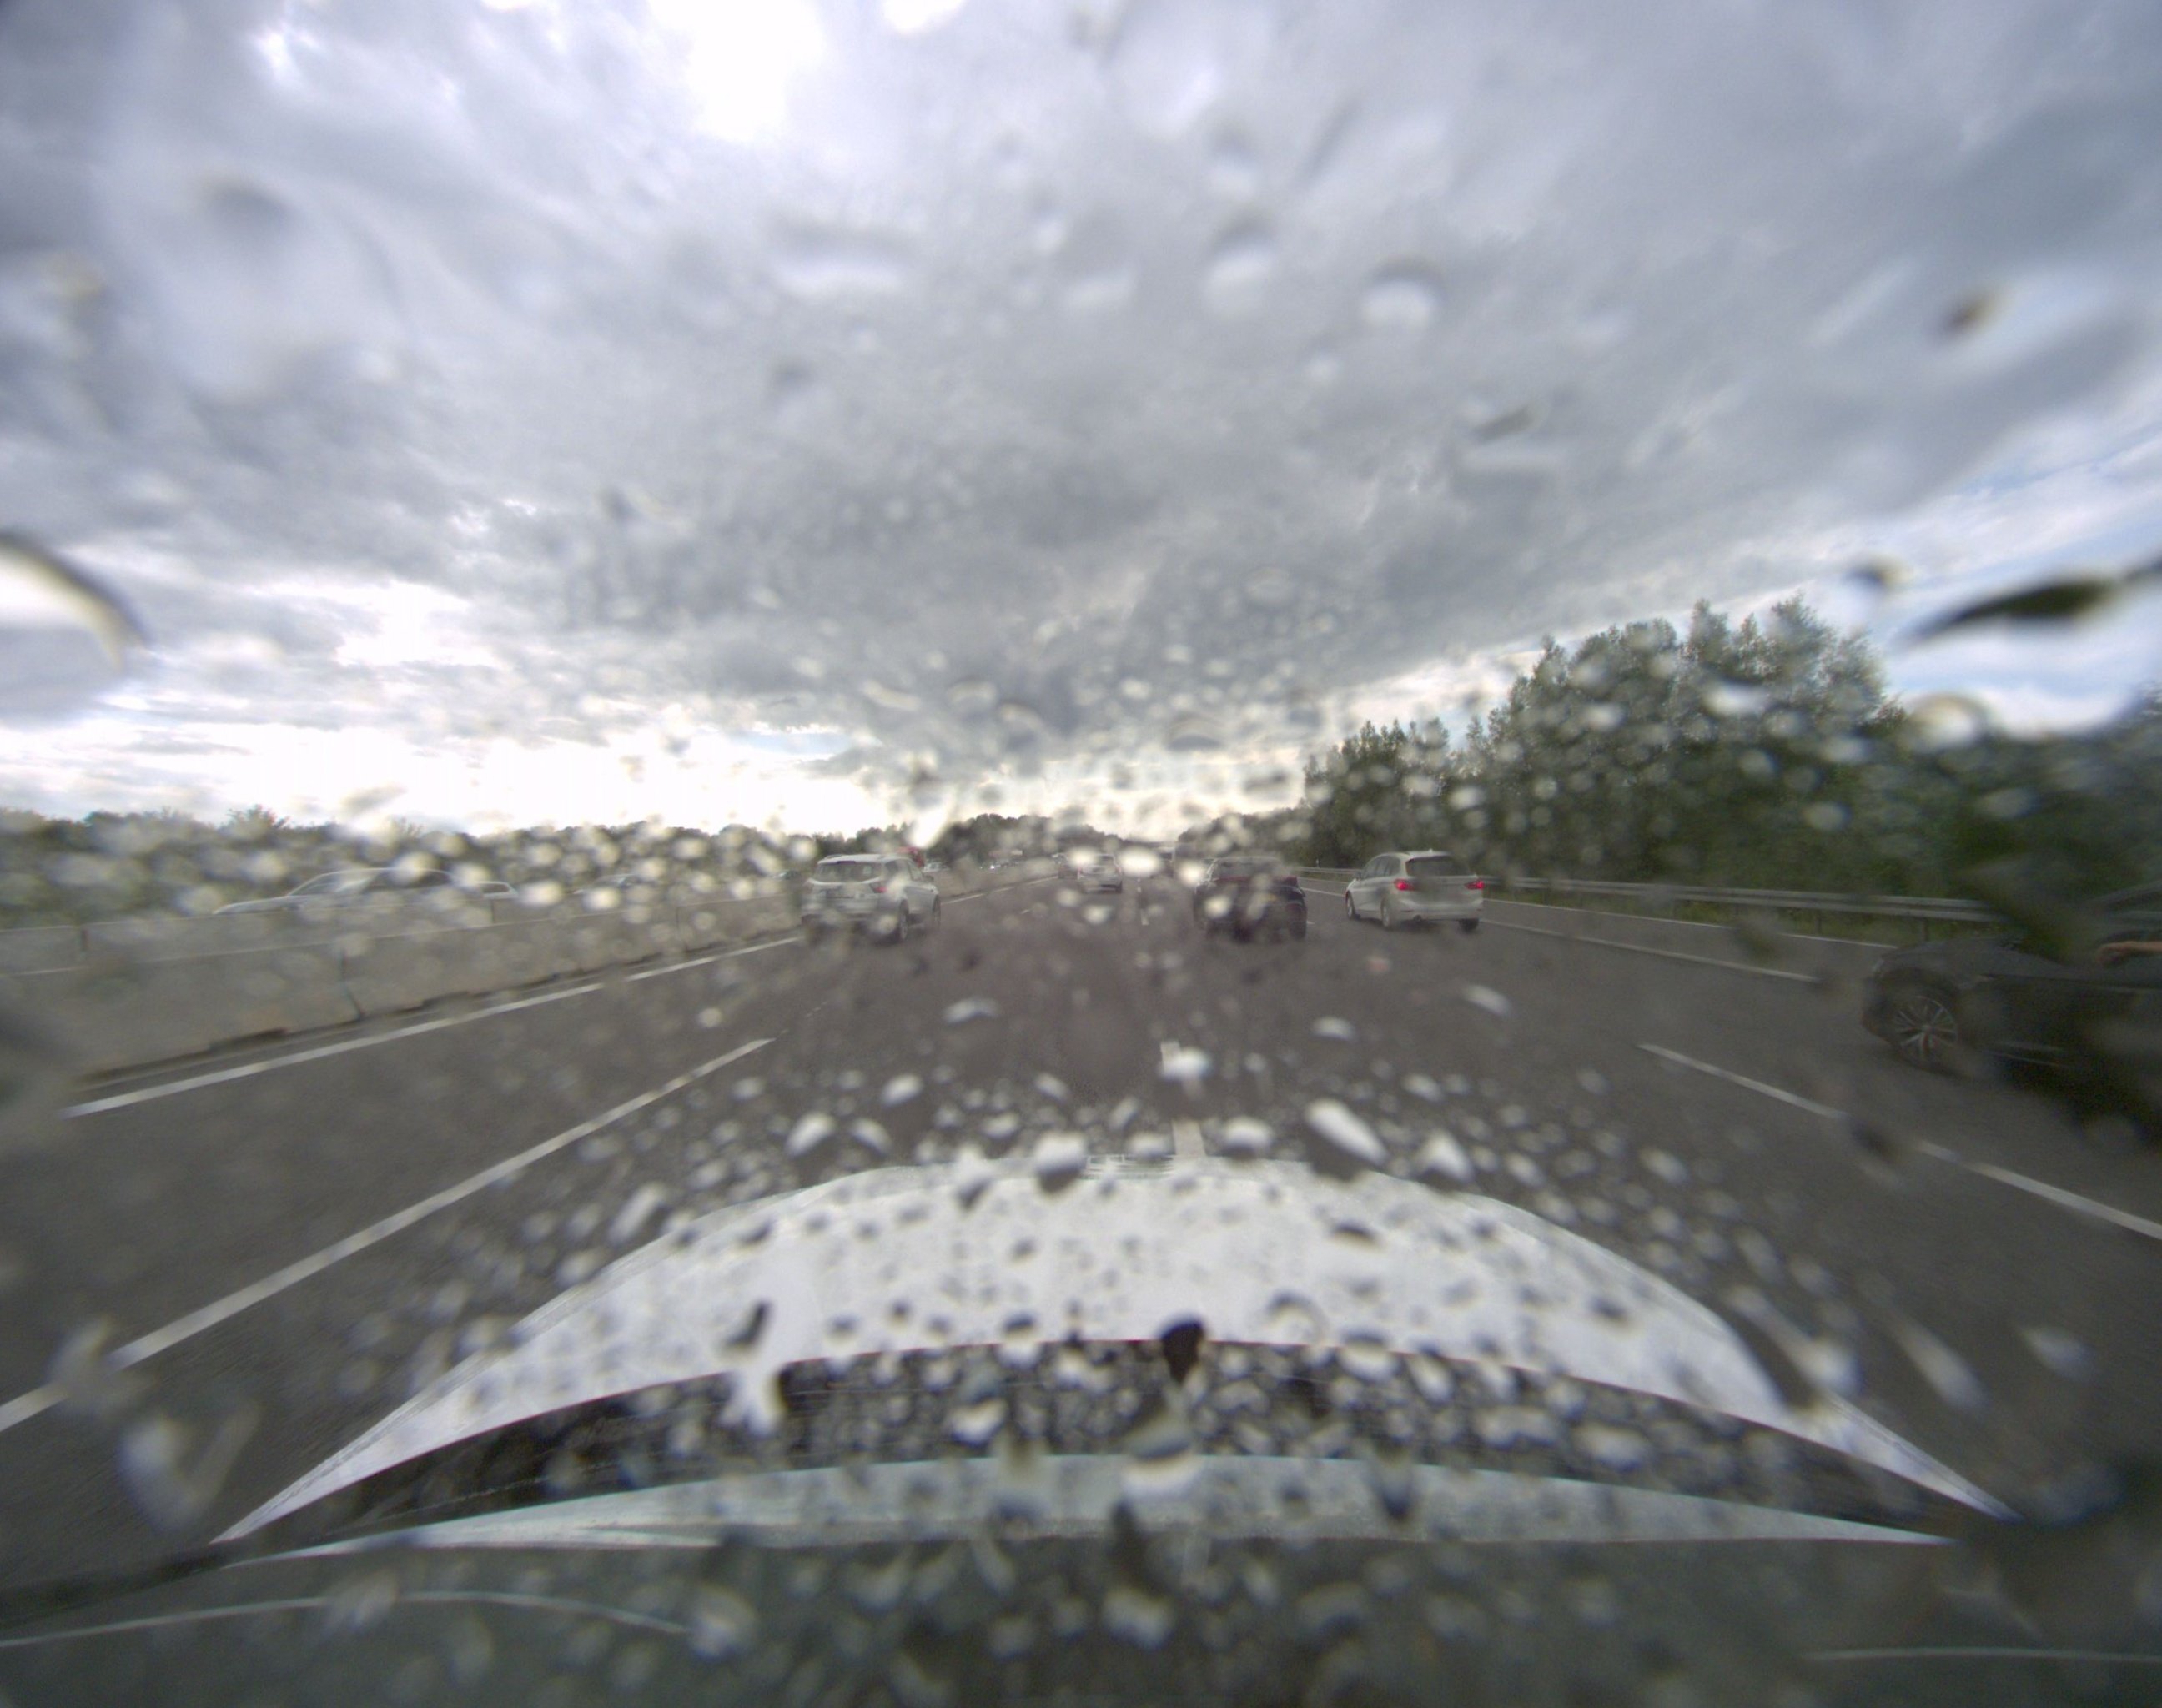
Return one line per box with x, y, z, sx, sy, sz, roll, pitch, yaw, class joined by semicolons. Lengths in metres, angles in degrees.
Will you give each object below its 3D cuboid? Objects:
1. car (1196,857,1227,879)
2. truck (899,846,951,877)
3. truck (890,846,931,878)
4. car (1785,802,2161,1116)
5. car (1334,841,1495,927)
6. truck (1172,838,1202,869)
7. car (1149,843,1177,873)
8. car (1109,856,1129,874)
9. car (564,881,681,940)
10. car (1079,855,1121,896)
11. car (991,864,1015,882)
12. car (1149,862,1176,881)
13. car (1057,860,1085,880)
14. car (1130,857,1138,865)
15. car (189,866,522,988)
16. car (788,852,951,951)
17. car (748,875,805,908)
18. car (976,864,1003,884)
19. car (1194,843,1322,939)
9.182;0.957;57.440;1.787;1.477;4.042;-1;0;4;car
-19.984;0.973;105.390;3.134;3.745;13.313;-1;0;4;truck
-20.497;0.957;98.121;3.136;3.712;6.326;-1;0;4;truck
6.459;0.534;4.355;1.699;1.631;4.460;-1;0;3;car
7.031;0.585;17.752;1.803;1.599;4.699;-1;0;3;car
13.446;-0.029;104.034;3.119;3.709;9.858;-1;0;4;truck
8.375;0.437;83.742;2.555;2.895;7.542;-1;0;4;car
3.696;1.089;79.515;1.874;1.686;4.002;-1;0;2;car
-17.777;2.126;31.878;1.842;2.014;4.540;-1;0;3;car
0.931;0.937;37.346;1.774;1.716;4.355;-1;0;2;car
-8.952;2.158;93.683;1.984;1.967;4.702;-1;0;4;car
6.111;1.303;61.663;1.876;1.407;4.287;-1;0;4;car
-0.771;1.278;65.356;1.772;1.481;4.359;-1;0;5;car
12.206;1.652;188.224;1.874;1.686;4.002;-1;0;2;car
-14.272;1.297;16.614;1.985;2.014;5.185;-1;0;3;car
-4.107;0.840;16.714;1.808;1.689;4.855;-1;0;3;car
-20.306;2.445;54.465;1.985;2.014;4.232;-1;0;4;car
-9.431;2.068;84.286;1.984;1.967;4.702;-1;0;4;car
3.348;0.655;16.217;1.773;1.613;4.602;-1;0;3;car
